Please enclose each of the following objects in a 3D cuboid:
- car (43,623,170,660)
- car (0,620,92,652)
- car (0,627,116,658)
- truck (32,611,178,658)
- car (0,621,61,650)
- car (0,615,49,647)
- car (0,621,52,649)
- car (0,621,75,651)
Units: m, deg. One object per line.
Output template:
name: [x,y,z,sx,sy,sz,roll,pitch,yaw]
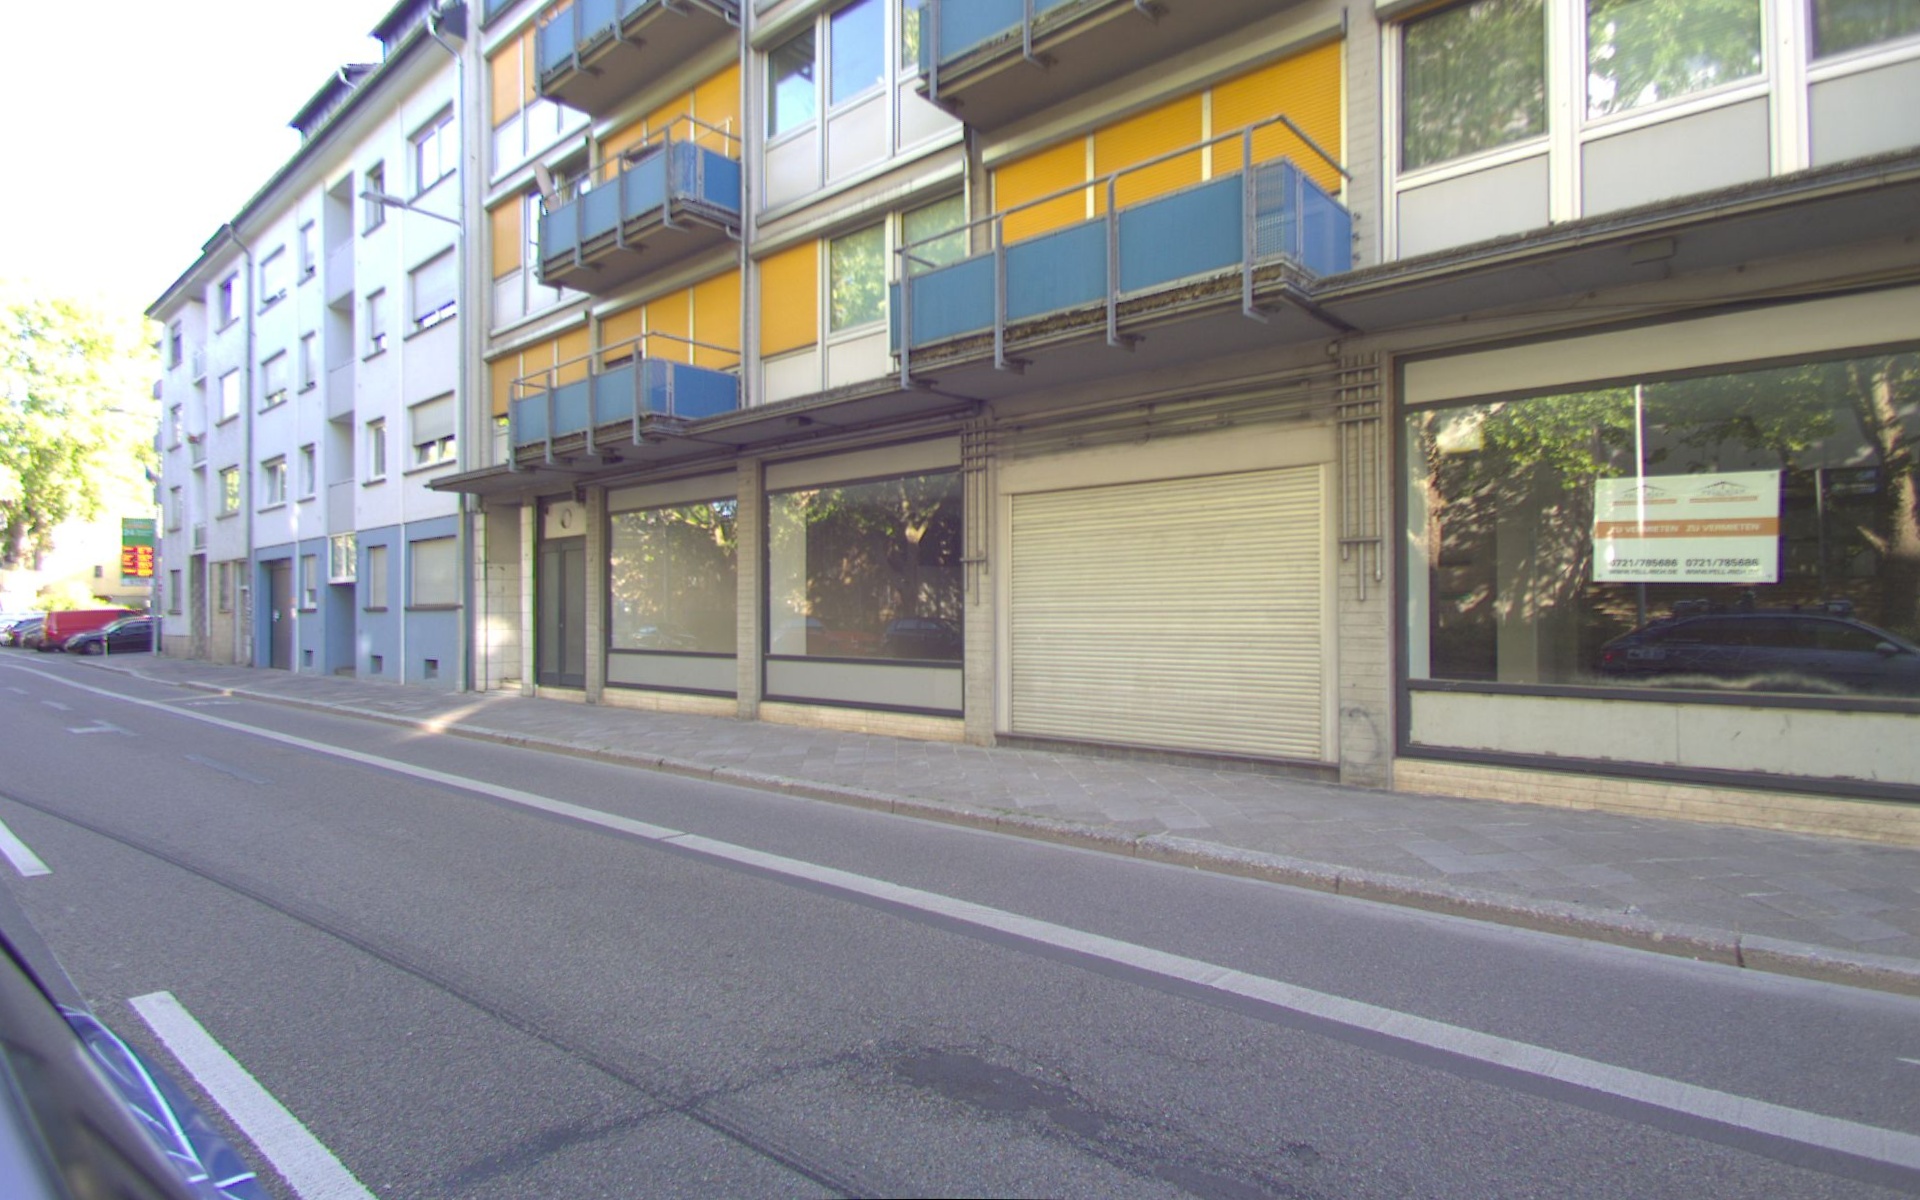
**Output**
car: [-36.872,1.743,43.788,1.780,1.404,3.947,-1,0,39]
car: [-50.810,1.959,55.972,1.699,1.640,3.952,-1,0,35]
car: [-43.267,2.000,48.554,1.904,1.282,3.983,-1,0,39]
truck: [-40.338,1.574,47.839,1.998,2.036,5.024,-1,0,40]
car: [-55.054,2.071,59.006,1.715,1.594,3.660,-1,0,35]
car: [-59.746,1.957,63.840,1.693,1.953,3.224,-1,0,43]
car: [-56.875,2.111,60.398,1.740,1.600,3.685,-1,0,35]
car: [-52.870,2.027,57.476,1.656,1.599,3.615,-1,0,35]
